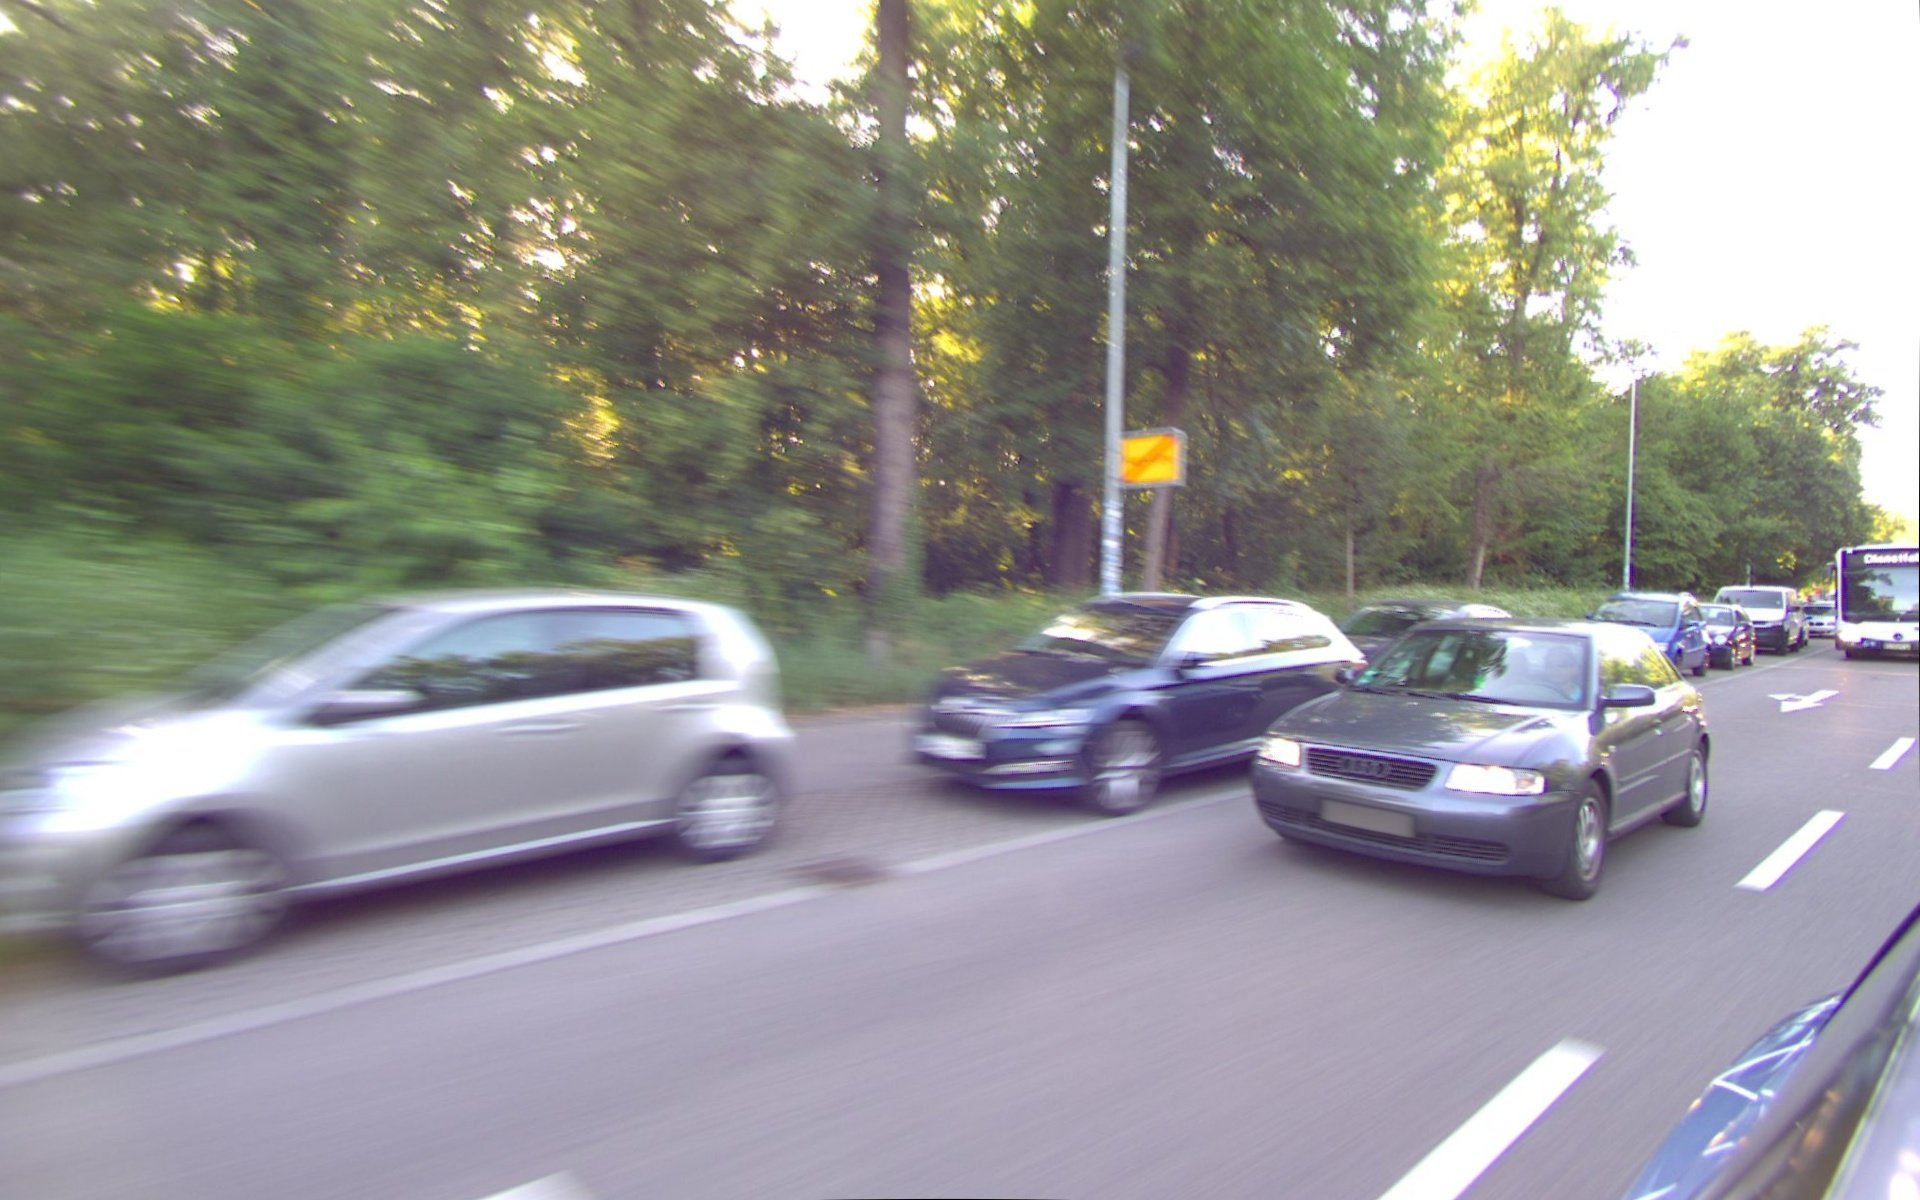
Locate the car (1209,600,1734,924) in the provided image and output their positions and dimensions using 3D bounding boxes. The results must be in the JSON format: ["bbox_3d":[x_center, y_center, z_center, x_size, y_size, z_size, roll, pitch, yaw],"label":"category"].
[{"bbox_3d":[3.399,0.706,6.363,3.926,1.376,1.677,0,1,-42],"label":"car"}]

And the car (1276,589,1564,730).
[{"bbox_3d":[5.858,0.606,12.676,4.157,1.421,1.676,-1,3,-41],"label":"car"}]

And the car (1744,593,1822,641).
[{"bbox_3d":[28.250,0.532,34.709,1.814,1.529,3.770,0,1,43],"label":"car"}]

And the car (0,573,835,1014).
[{"bbox_3d":[-2.705,0.638,5.278,3.810,1.487,1.720,-1,3,-44],"label":"car"}]

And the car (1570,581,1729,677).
[{"bbox_3d":[13.633,0.480,19.935,3.766,1.654,1.816,-1,3,-44],"label":"car"}]

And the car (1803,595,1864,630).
[{"bbox_3d":[36.690,0.493,42.485,3.766,1.400,1.592,-1,1,-44],"label":"car"}]

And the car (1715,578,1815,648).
[{"bbox_3d":[24.138,0.324,30.271,1.815,1.945,5.183,0,1,45],"label":"car"}]

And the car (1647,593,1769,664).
[{"bbox_3d":[17.485,0.600,23.598,1.815,1.497,3.768,0,1,44],"label":"car"}]

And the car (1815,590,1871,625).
[{"bbox_3d":[40.079,0.324,45.898,3.766,1.506,1.592,-1,1,-44],"label":"car"}]

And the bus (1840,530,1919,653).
[{"bbox_3d":[28.435,-0.208,29.897,12.676,3.086,2.806,0,0,-45],"label":"bus"}]

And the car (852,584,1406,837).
[{"bbox_3d":[1.677,0.643,8.482,5.027,1.487,1.765,-1,3,-41],"label":"car"}]
